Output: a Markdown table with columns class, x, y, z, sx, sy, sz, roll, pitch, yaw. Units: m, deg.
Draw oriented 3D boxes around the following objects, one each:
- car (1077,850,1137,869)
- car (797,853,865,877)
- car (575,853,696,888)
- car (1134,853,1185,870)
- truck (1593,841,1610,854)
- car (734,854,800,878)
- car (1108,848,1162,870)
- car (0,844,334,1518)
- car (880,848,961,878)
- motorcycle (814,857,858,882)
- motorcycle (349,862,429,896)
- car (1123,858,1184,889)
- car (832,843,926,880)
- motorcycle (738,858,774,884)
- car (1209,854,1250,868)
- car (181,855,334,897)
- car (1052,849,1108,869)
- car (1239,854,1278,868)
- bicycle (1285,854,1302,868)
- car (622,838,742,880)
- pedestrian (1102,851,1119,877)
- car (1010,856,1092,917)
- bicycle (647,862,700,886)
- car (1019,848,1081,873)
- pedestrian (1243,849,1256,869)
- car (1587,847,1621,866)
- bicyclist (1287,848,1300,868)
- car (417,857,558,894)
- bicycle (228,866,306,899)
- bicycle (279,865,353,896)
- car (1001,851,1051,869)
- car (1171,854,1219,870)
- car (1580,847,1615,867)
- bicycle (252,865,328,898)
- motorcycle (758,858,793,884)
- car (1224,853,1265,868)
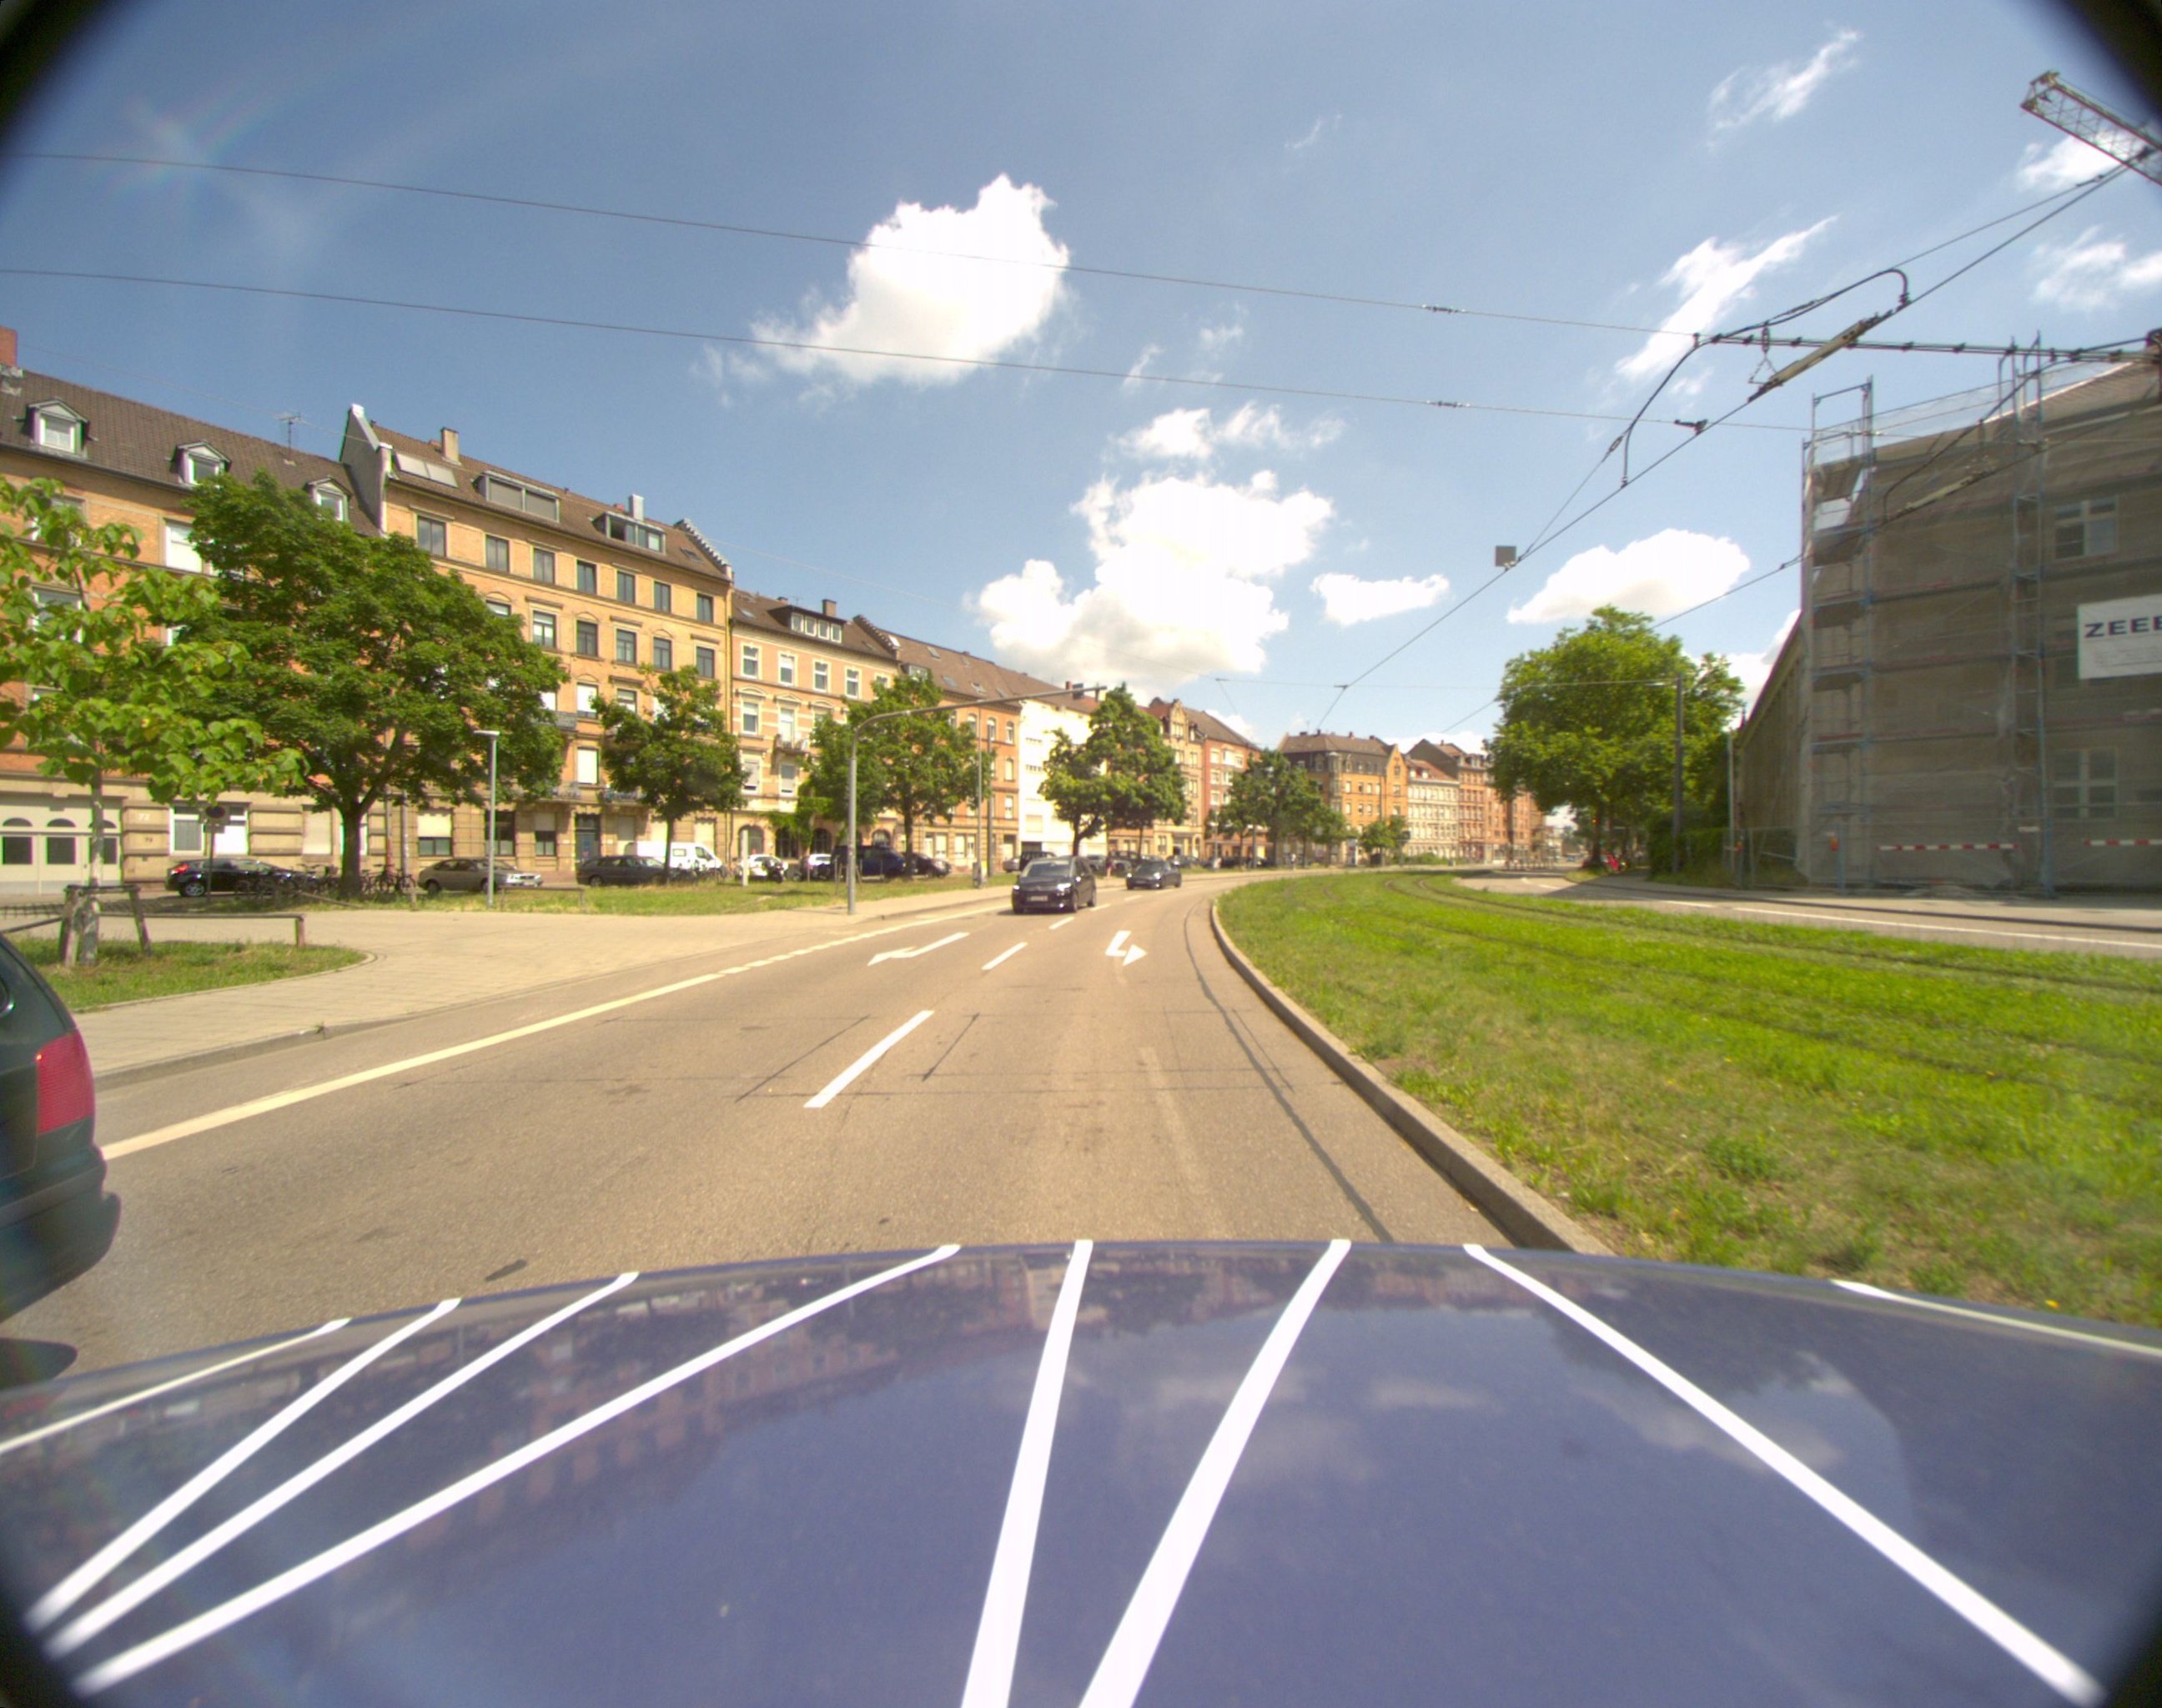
| class | x | y | z | sx | sy | sz | roll | pitch | yaw |
| --- | --- | --- | --- | --- | --- | --- | --- | --- | --- |
| car | 2.075 | 0.450 | 59.765 | 4.688 | 1.372 | 1.853 | -1 | 0 | 4 |
| car | -16.319 | 0.689 | 49.723 | 1.660 | 1.483 | 3.861 | -1 | 0 | 38 |
| car | -18.941 | 0.686 | 32.367 | 4.253 | 1.419 | 1.807 | 0 | 0 | 9 |
| car | 6.752 | 0.660 | 65.945 | 4.265 | 1.372 | 1.853 | -1 | 0 | 2 |
| truck | 121.171 | -1.496 | 176.817 | 2.639 | 3.089 | 7.238 | 2 | 2 | 38 |
| car | -18.995 | 0.684 | 46.084 | 1.564 | 1.395 | 3.358 | 0 | 0 | 41 |
| car | 4.464 | 0.410 | 62.781 | 4.362 | 1.730 | 1.853 | -1 | 0 | 2 |
| car | -3.698 | 0.864 | 0.317 | 1.823 | 1.746 | 5.031 | -1 | 0 | -1 |
| car | -9.429 | 0.521 | 44.734 | 4.168 | 1.646 | 1.918 | -1 | 0 | 12 |
| motorcycle | -11.654 | 0.724 | 36.158 | 1.910 | 1.160 | 0.638 | 0 | 0 | -40 |
| motorcycle | -23.729 | 0.856 | 26.064 | 2.387 | 1.119 | 0.813 | -1 | 0 | 14 |
| car | 3.748 | 0.952 | 38.548 | 1.911 | 1.385 | 4.320 | -1 | 0 | 22 |
| car | -11.221 | 0.409 | 42.298 | 4.623 | 1.916 | 1.918 | -1 | 0 | 7 |
| motorcycle | -14.471 | 0.741 | 33.784 | 1.784 | 1.160 | 0.641 | 0 | 0 | 37 |
| car | 14.989 | 0.687 | 76.918 | 3.994 | 1.372 | 1.963 | -1 | 0 | 10 |
| car | -31.661 | 0.820 | 29.304 | 1.660 | 1.483 | 3.861 | -1 | 0 | 38 |
| car | -0.020 | 0.402 | 57.295 | 4.081 | 1.397 | 1.853 | -1 | 0 | 3 |
| car | 19.137 | 0.745 | 81.839 | 3.992 | 1.346 | 1.964 | -1 | 0 | 16 |
| bicycle | 19.809 | 0.659 | 70.797 | 0.693 | 1.236 | 1.843 | 7 | 4 | 41 |
| car | -21.929 | 0.235 | 41.953 | 2.112 | 2.166 | 5.405 | -1 | 0 | 38 |
| pedestrian | 1.917 | 0.638 | 48.843 | 0.700 | 1.583 | 0.907 | 3 | 4 | 37 |
| car | -0.787 | 0.900 | 22.801 | 1.874 | 1.610 | 4.191 | -1 | 0 | 5 |
| bicycle | -16.243 | 0.802 | 30.332 | 0.542 | 0.896 | 1.825 | -1 | 0 | 34 |
| car | -2.226 | 0.465 | 55.091 | 4.144 | 1.730 | 1.853 | -1 | 0 | 8 |
| pedestrian | 14.687 | 0.426 | 66.126 | 0.700 | 1.695 | 1.046 | 1 | 3 | 37 |
| car | 41.422 | 0.196 | 60.169 | 1.927 | 1.411 | 4.059 | -2 | -2 | 38 |
| bicyclist | 19.829 | 0.365 | 70.783 | 0.694 | 1.814 | 0.958 | 7 | 4 | 40 |
| car | -21.651 | 0.792 | 27.764 | 4.157 | 1.237 | 1.865 | -1 | 0 | 14 |
| bicycle | -25.153 | 0.870 | 23.482 | 2.387 | 0.963 | 0.544 | -1 | 0 | 14 |
| bicycle | -24.840 | 0.871 | 24.682 | 2.387 | 0.963 | 0.544 | -1 | 0 | 14 |
| car | -4.683 | 0.499 | 64.781 | 1.833 | 1.483 | 4.236 | -1 | 0 | 38 |
| car | 10.630 | 0.715 | 71.020 | 4.265 | 1.372 | 1.853 | -1 | 0 | 2 |
| car | 37.734 | 0.208 | 55.466 | 1.927 | 1.360 | 4.327 | -2 | -2 | 36 |
| bicycle | -25.016 | 0.871 | 24.039 | 2.387 | 0.963 | 0.544 | -1 | 0 | 14 |
| motorcycle | -13.890 | 0.746 | 34.545 | 1.784 | 1.160 | 0.641 | 0 | 0 | 37 |
| car | 16.991 | 0.679 | 79.138 | 3.995 | 1.372 | 1.962 | -1 | 0 | 5 |
